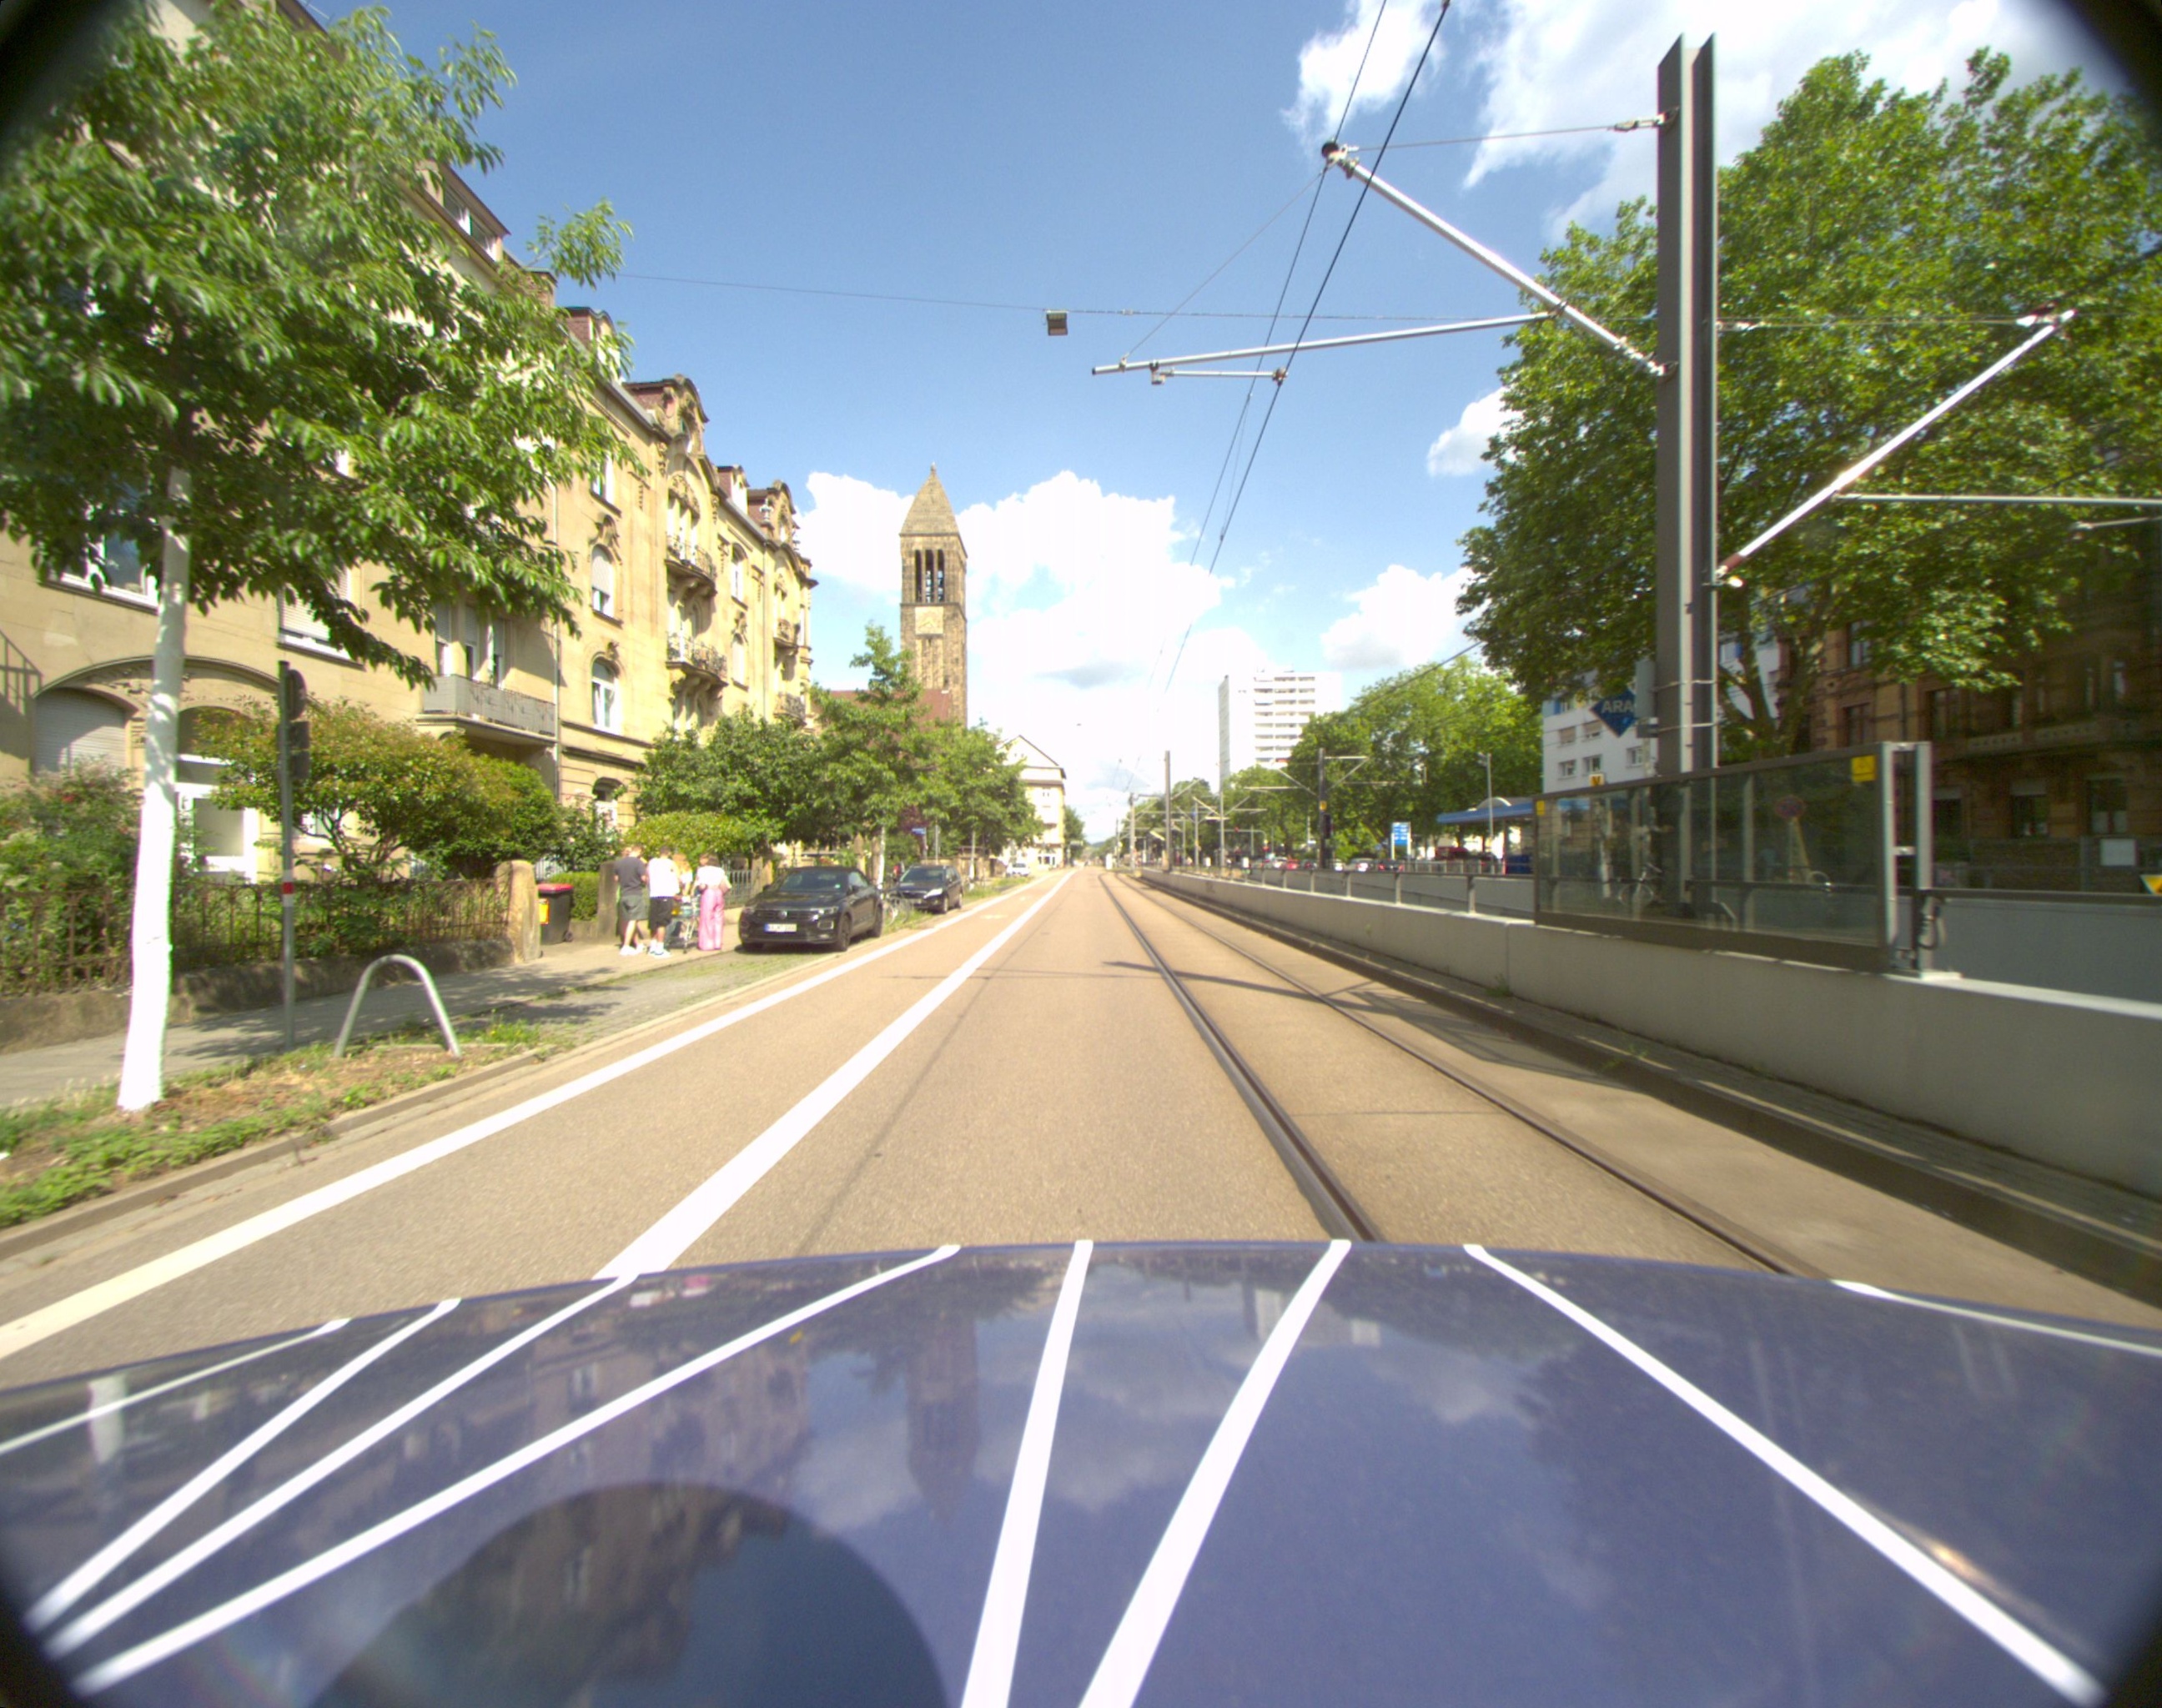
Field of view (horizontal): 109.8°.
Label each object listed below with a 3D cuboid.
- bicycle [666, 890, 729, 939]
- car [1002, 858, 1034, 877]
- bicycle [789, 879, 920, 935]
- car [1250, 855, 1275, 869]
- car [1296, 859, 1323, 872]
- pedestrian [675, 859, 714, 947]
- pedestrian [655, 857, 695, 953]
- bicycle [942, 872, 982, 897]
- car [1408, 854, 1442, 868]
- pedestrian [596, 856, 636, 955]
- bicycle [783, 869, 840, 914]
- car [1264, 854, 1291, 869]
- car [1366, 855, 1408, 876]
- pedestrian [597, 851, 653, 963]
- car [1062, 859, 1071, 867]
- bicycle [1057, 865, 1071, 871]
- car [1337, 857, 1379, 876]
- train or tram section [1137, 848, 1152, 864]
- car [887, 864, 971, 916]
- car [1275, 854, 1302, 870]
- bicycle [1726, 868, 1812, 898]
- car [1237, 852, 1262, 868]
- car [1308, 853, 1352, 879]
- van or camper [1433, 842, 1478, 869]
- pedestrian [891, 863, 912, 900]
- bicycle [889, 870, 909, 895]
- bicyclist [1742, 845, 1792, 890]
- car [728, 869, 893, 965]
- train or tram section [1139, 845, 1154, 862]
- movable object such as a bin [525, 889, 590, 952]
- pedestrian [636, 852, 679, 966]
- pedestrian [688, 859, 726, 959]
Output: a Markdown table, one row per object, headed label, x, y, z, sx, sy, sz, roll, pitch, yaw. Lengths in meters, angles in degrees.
| label | x | y | z | sx | sy | sz | roll | pitch | yaw |
| --- | --- | --- | --- | --- | --- | --- | --- | --- | --- |
| bicycle | -8.318 | 1.289 | 16.557 | 0.428 | 0.934 | 1.807 | 2 | 0 | 1 |
| car | -5.059 | 1.090 | 61.159 | 1.671 | 1.408 | 3.847 | -2 | -1 | 9 |
| bicycle | -5.428 | 1.265 | 18.414 | 2.957 | 1.239 | 0.792 | -1 | 0 | -12 |
| car | 22.240 | 0.977 | 93.445 | 1.871 | 1.642 | 5.154 | 1 | -1 | 1 |
| car | 21.635 | 1.040 | 72.098 | 1.620 | 1.182 | 3.634 | -1 | -1 | 2 |
| pedestrian | -7.487 | 0.936 | 14.733 | 0.530 | 1.666 | 0.574 | 2 | 0 | -18 |
| pedestrian | -7.345 | 0.916 | 13.767 | 0.503 | 1.696 | 0.495 | 2 | 0 | -18 |
| bicycle | -5.328 | 1.359 | 34.000 | 1.711 | 1.063 | 0.471 | -1 | 0 | -5 |
| car | 35.790 | 0.763 | 79.133 | 1.757 | 1.402 | 4.000 | 0 | 0 | -1 |
| pedestrian | -8.144 | 0.888 | 13.327 | 0.385 | 1.696 | 0.431 | 2 | 0 | 0 |
| bicycle | -8.340 | 1.137 | 23.688 | 0.659 | 1.241 | 2.943 | 2 | 0 | 1 |
| car | 22.184 | 0.801 | 85.951 | 1.764 | 1.597 | 4.678 | 0 | 1 | 0 |
| car | 20.910 | 0.767 | 52.094 | 1.672 | 1.408 | 3.784 | -1 | -1 | 6 |
| pedestrian | -7.495 | 0.865 | 12.499 | 0.671 | 1.794 | 0.319 | 2 | 0 | -1 |
| car | -3.358 | 2.182 | 176.577 | 1.851 | 1.779 | 4.000 | 2 | 0 | -1 |
| bicycle | -2.669 | 2.216 | 119.499 | 2.132 | 0.983 | 0.652 | -1 | 0 | 4 |
| car | 21.367 | 0.968 | 58.722 | 1.726 | 1.408 | 4.406 | 0 | -1 | 2 |
| train or tram section | 14.560 | 0.505 | 174.369 | 2.812 | 3.540 | 11.184 | -1 | 0 | 3 |
| car | -4.847 | 1.094 | 24.908 | 1.690 | 1.493 | 4.708 | -1 | 0 | 1 |
| car | 21.515 | 0.885 | 78.993 | 1.717 | 1.597 | 4.145 | 0 | -2 | 0 |
| bicycle | 22.379 | 0.923 | 24.780 | 0.673 | 0.908 | 2.368 | -1 | 0 | 1 |
| car | 22.210 | 0.798 | 100.535 | 2.080 | 1.974 | 5.337 | 0 | -2 | 0 |
| car | 21.411 | 1.060 | 65.672 | 1.952 | 1.596 | 5.080 | -12 | -4 | 1 |
| van or camper | 38.633 | 0.158 | 78.611 | 2.107 | 2.625 | 5.350 | 2 | 0 | 2 |
| pedestrian | -8.066 | 1.241 | 34.092 | 0.725 | 1.619 | 0.725 | -1 | 0 | 1 |
| bicycle | -8.252 | 1.280 | 34.527 | 0.471 | 1.102 | 1.711 | -1 | 0 | 1 |
| bicyclist | 22.366 | 0.431 | 24.782 | 0.690 | 1.447 | 1.044 | -1 | 0 | 1 |
| car | -5.056 | 1.095 | 14.890 | 1.803 | 1.517 | 4.488 | 1 | 0 | -3 |
| train or tram section | 14.037 | -0.113 | 163.054 | 2.802 | 3.540 | 11.379 | -1 | 0 | 3 |
| movable object such as a bin | -9.444 | 1.189 | 13.733 | 0.609 | 1.051 | 0.775 | 2 | 0 | 1 |
| pedestrian | -6.776 | 0.871 | 12.167 | 0.460 | 1.794 | 0.319 | 2 | 0 | -1 |
| pedestrian | -6.473 | 0.938 | 13.172 | 0.318 | 1.696 | 0.461 | 2 | 0 | 14 |
